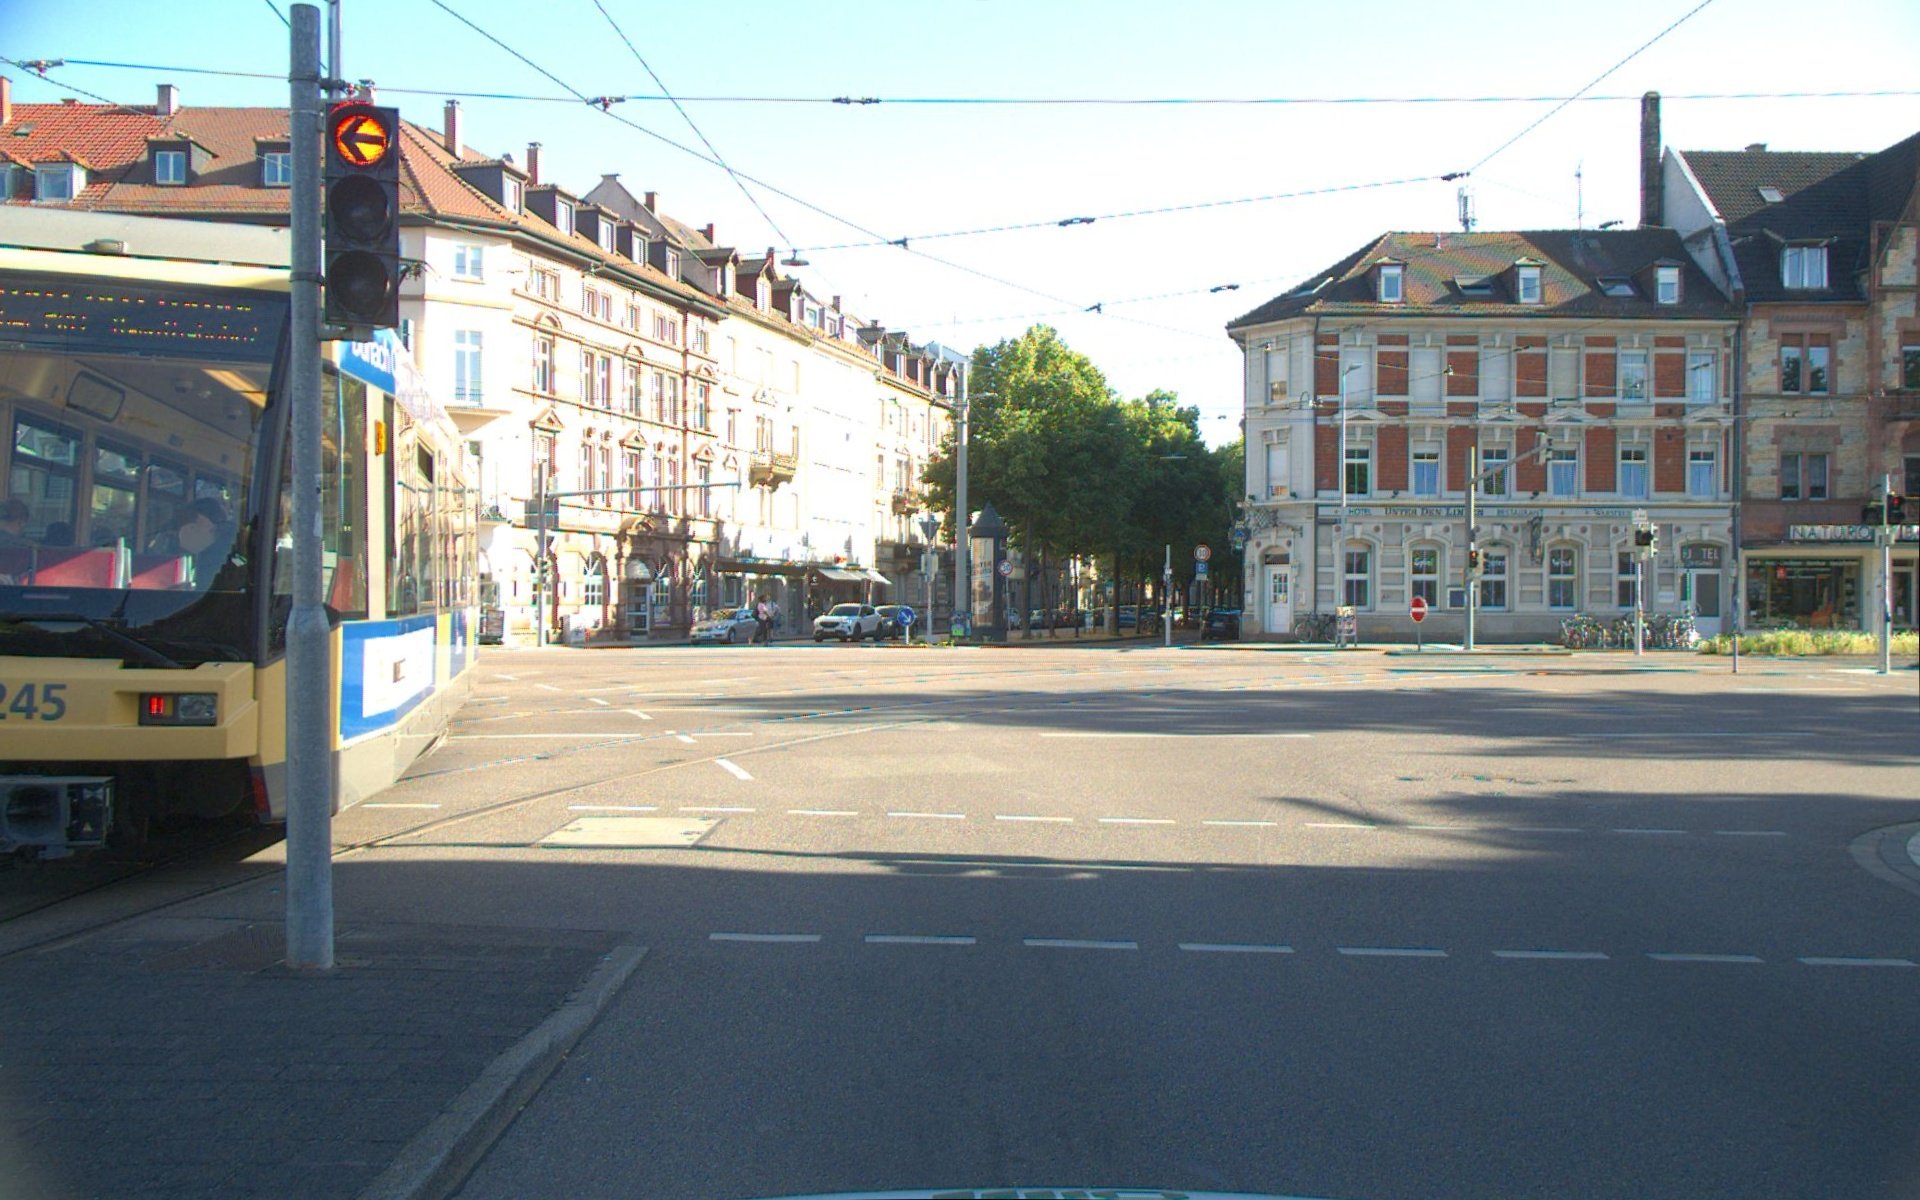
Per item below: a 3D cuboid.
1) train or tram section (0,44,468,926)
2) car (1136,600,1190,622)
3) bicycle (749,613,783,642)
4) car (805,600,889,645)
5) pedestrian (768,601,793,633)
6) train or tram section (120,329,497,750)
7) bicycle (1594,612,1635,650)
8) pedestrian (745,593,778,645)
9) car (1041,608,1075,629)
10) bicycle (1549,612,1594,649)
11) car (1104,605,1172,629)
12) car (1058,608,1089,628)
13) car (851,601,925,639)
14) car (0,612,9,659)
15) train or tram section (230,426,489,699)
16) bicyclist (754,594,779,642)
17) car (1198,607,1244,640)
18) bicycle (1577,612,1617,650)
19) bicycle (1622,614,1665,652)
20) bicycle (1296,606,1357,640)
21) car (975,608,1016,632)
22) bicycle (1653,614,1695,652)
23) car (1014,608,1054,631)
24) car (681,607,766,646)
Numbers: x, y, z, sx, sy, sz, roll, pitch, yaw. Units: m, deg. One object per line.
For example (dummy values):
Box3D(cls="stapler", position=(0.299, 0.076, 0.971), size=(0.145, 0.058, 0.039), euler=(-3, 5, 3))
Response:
Box3D(cls="train or tram section", position=(-4.805, -0.488, 10.530), size=(2.766, 3.561, 7.934), euler=(0, 0, -14))
Box3D(cls="car", position=(16.411, 0.887, 133.867), size=(3.912, 1.736, 1.996), euler=(0, 0, 30))
Box3D(cls="bicycle", position=(-7.598, 1.078, 64.882), size=(0.665, 1.085, 2.127), euler=(0, 0, 12))
Box3D(cls="car", position=(-4.545, 0.881, 67.246), size=(1.951, 1.713, 4.393), euler=(0, 0, 17))
Box3D(cls="pedestrian", position=(-8.741, 0.816, 80.677), size=(0.908, 1.562, 1.138), euler=(0, 0, 13))
Box3D(cls="train or tram section", position=(-6.764, -0.540, 18.449), size=(2.767, 3.561, 8.431), euler=(0, 0, -14))
Box3D(cls="bicycle", position=(21.164, 0.990, 53.504), size=(0.605, 1.163, 2.175), euler=(0, 0, 4))
Box3D(cls="pedestrian", position=(-6.862, 0.647, 57.133), size=(1.029, 1.774, 0.805), euler=(0, 0, -15))
Box3D(cls="car", position=(7.773, 1.424, 130.556), size=(1.798, 1.579, 4.393), euler=(0, 0, 16))
Box3D(cls="bicycle", position=(19.820, 0.985, 53.653), size=(0.789, 1.163, 2.175), euler=(0, 0, 4))
Box3D(cls="car", position=(12.444, 1.197, 115.594), size=(4.290, 1.640, 1.998), euler=(0, 0, 26))
Box3D(cls="car", position=(9.385, 1.463, 136.457), size=(1.727, 1.576, 4.394), euler=(0, 0, 16))
Box3D(cls="car", position=(-3.151, 0.859, 73.781), size=(1.951, 1.640, 4.393), euler=(0, 0, 17))
Box3D(cls="car", position=(-32.400, 1.139, 51.937), size=(3.907, 1.478, 1.999), euler=(0, 0, -3))
Box3D(cls="train or tram section", position=(-10.370, -0.526, 27.557), size=(2.737, 3.561, 11.926), euler=(0, 0, -26))
Box3D(cls="bicyclist", position=(-7.587, 0.691, 64.924), size=(0.664, 1.852, 1.071), euler=(0, 0, 12))
Box3D(cls="car", position=(13.067, 1.158, 82.628), size=(1.951, 1.613, 4.003), euler=(0, 0, 13))
Box3D(cls="bicycle", position=(20.592, 0.995, 53.534), size=(0.605, 1.163, 2.175), euler=(0, 0, 4))
Box3D(cls="bicycle", position=(22.071, 1.052, 53.445), size=(0.605, 1.163, 2.175), euler=(0, 0, 4))
Box3D(cls="bicycle", position=(12.749, 0.815, 57.577), size=(2.045, 1.144, 0.366), euler=(1, -1, -5))
Box3D(cls="car", position=(2.407, 1.325, 110.984), size=(1.951, 1.512, 4.003), euler=(0, 0, 13))
Box3D(cls="bicycle", position=(23.036, 1.055, 53.393), size=(0.596, 1.156, 2.136), euler=(0, 0, 4))
Box3D(cls="car", position=(5.520, 1.426, 122.732), size=(1.951, 1.640, 4.393), euler=(0, 0, 17))
Box3D(cls="car", position=(-9.528, 1.032, 66.892), size=(1.858, 1.481, 4.002), euler=(0, 0, 17))
